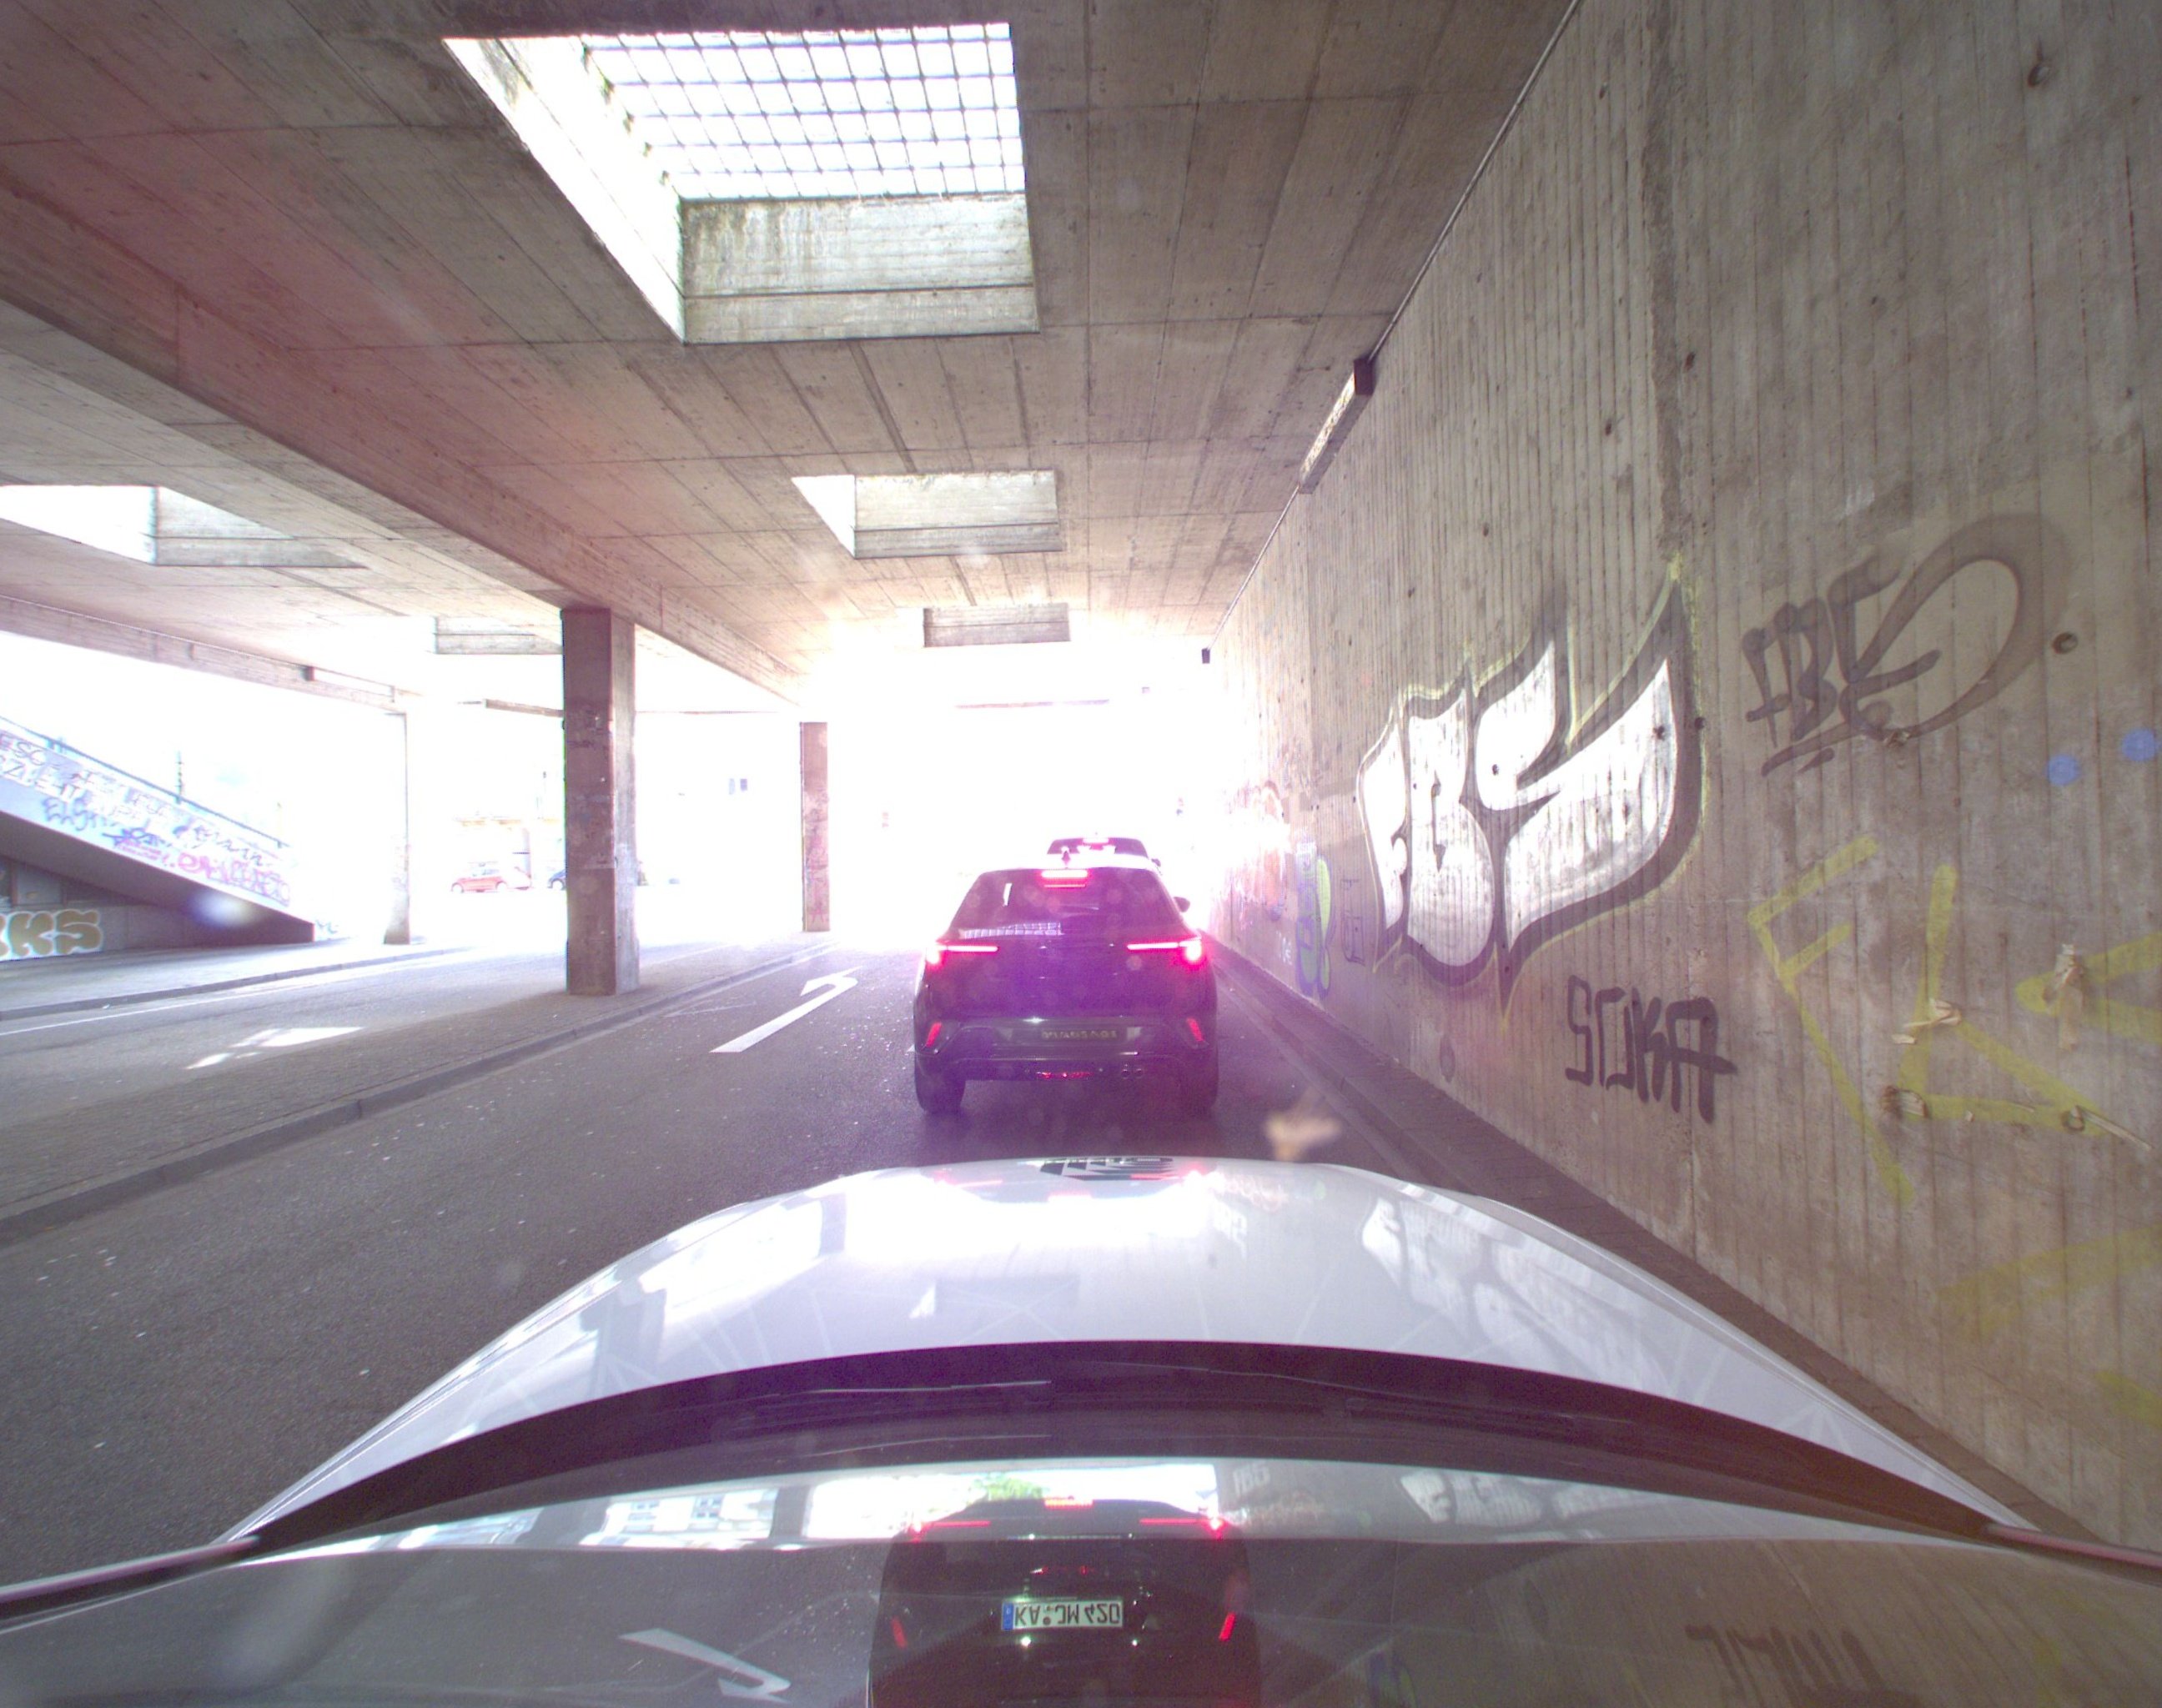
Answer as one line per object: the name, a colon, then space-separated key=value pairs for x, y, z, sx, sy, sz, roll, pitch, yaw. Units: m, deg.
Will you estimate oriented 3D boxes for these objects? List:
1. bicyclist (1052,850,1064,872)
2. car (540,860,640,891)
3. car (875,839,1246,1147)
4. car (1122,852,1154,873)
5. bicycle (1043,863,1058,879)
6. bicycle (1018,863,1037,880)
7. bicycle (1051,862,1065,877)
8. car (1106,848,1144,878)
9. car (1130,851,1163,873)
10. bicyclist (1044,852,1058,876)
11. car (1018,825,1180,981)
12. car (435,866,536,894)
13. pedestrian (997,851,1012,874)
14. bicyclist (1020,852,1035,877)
bicyclist: x=-1.677 y=0.477 z=58.985 sx=0.724 sy=1.581 sz=0.817 roll=0 pitch=-1 yaw=11
car: x=-27.211 y=1.160 z=45.239 sx=4.114 sy=1.550 sz=2.268 roll=-1 pitch=0 yaw=1
car: x=-0.045 y=0.718 z=6.190 sx=1.875 sy=1.538 sz=3.966 roll=-2 pitch=0 yaw=2
car: x=4.401 y=0.662 z=62.254 sx=1.955 sy=1.497 sz=3.908 roll=-2 pitch=-2 yaw=11
bicycle: x=-1.995 y=1.122 z=53.884 sx=0.621 sy=1.067 sz=1.694 roll=0 pitch=-1 yaw=11
bicycle: x=-3.392 y=1.113 z=51.746 sx=0.727 sy=1.067 sz=1.694 roll=0 pitch=-1 yaw=11
bicycle: x=-1.670 y=1.150 z=59.115 sx=0.621 sy=1.067 sz=1.694 roll=0 pitch=-1 yaw=11
car: x=2.406 y=0.517 z=44.269 sx=1.959 sy=1.497 sz=3.900 roll=-1 pitch=-2 yaw=4
car: x=5.583 y=0.709 z=69.040 sx=2.206 sy=1.719 sz=4.474 roll=-2 pitch=-2 yaw=12
bicyclist: x=-1.973 y=0.665 z=53.929 sx=0.724 sy=1.581 sz=0.817 roll=0 pitch=-1 yaw=11
car: x=0.287 y=0.602 z=12.011 sx=1.938 sy=1.860 sz=3.966 roll=-2 pitch=0 yaw=2
car: x=-33.015 y=1.443 z=45.237 sx=3.970 sy=1.374 sz=2.192 roll=-1 pitch=0 yaw=3
pedestrian: x=-7.034 y=0.774 z=74.882 sx=0.986 sy=2.013 sz=1.091 roll=-2 pitch=0 yaw=10
bicyclist: x=-3.382 y=0.656 z=51.781 sx=0.724 sy=1.581 sz=0.817 roll=0 pitch=-1 yaw=11
